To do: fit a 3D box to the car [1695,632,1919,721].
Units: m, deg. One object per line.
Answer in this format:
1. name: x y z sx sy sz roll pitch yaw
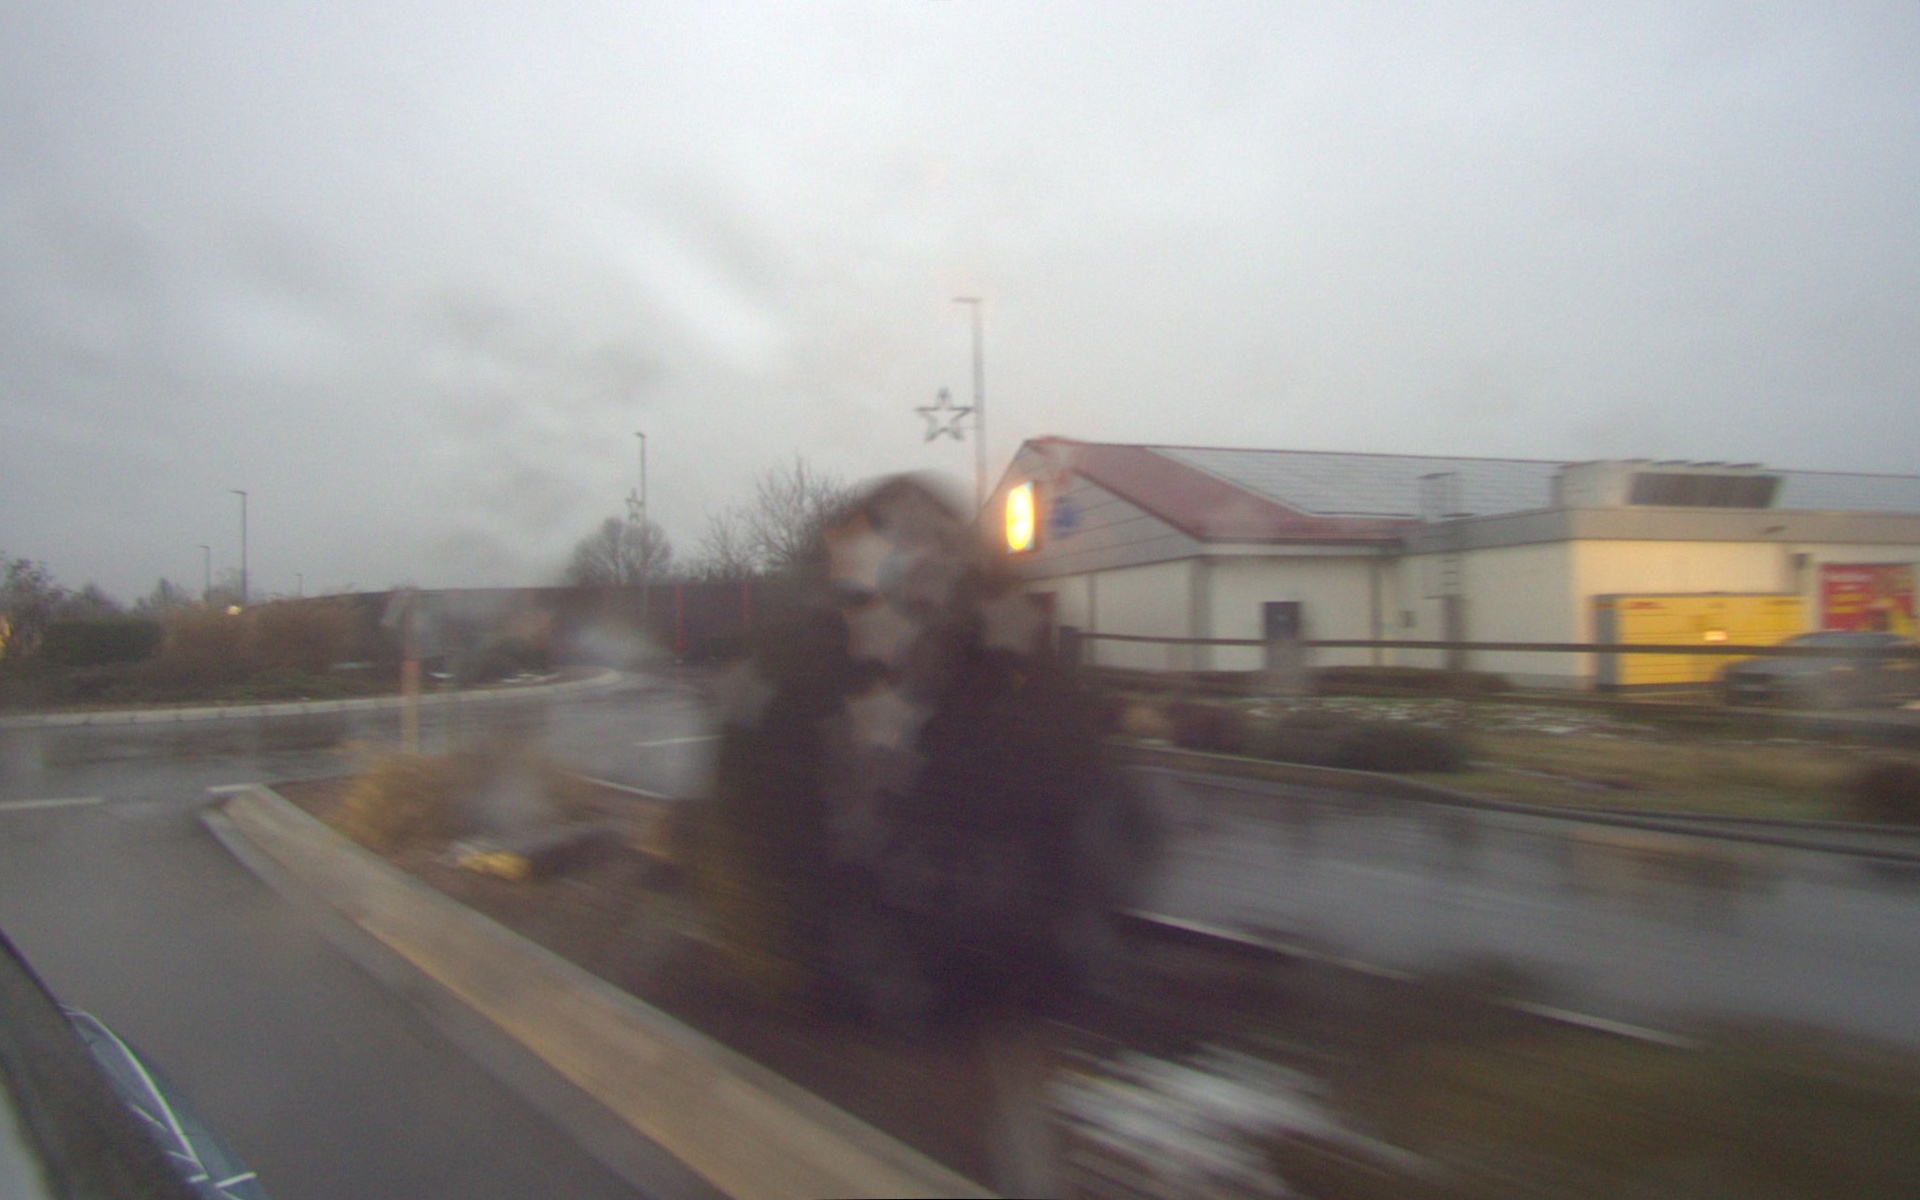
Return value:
1. car: 16.010 1.345 18.678 3.932 1.321 1.847 -2 0 -15
